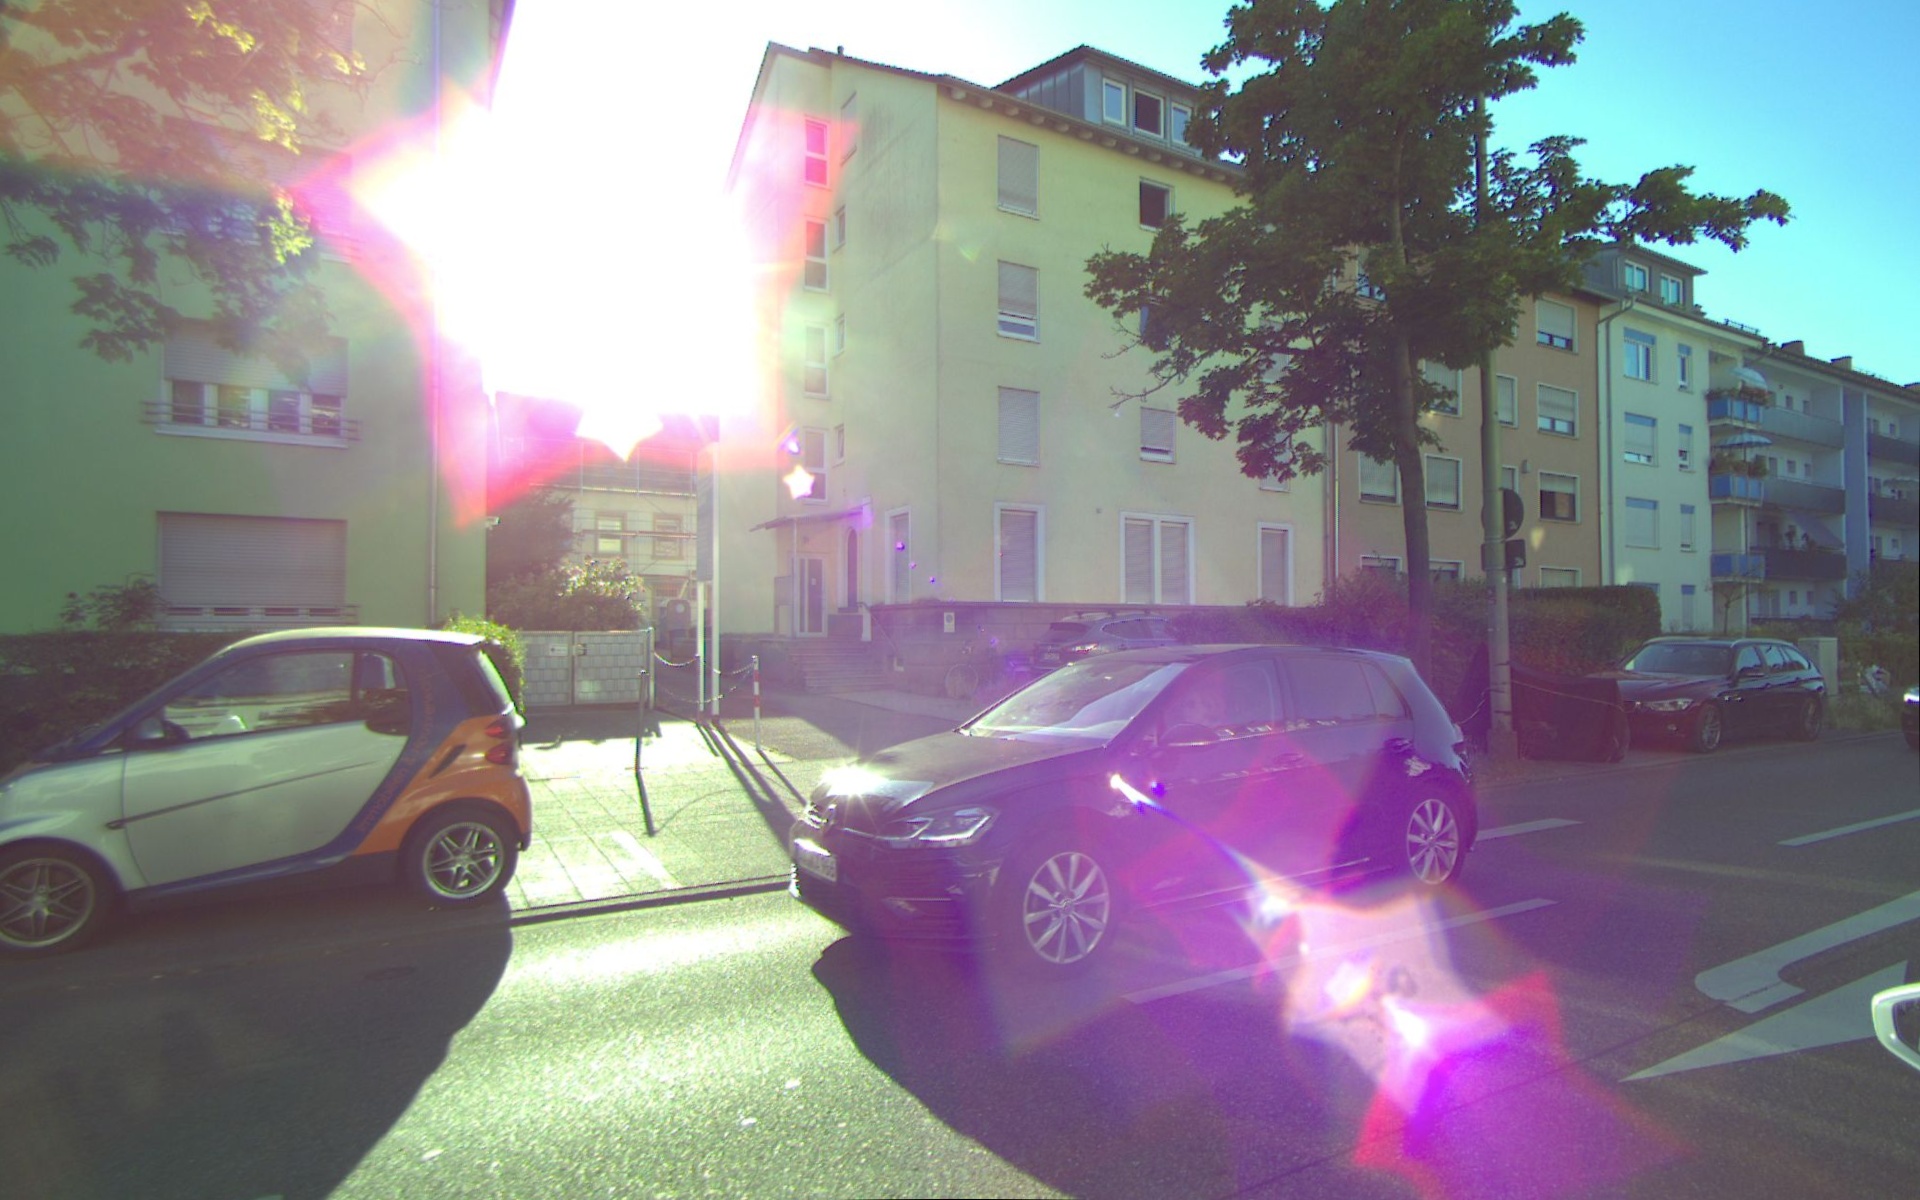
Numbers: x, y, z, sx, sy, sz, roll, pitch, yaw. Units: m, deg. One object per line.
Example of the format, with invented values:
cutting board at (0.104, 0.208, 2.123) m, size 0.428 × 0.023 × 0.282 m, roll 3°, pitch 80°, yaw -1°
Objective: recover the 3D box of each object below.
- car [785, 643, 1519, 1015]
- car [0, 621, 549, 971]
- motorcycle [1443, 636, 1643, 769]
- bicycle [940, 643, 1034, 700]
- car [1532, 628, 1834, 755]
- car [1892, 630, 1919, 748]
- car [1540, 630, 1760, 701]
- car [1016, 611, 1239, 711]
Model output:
car at (1.185, 0.992, 5.716) m, size 3.981 × 1.422 × 1.692 m, roll 1°, pitch -4°, yaw -31°
car at (-3.974, 0.950, 5.842) m, size 2.824 × 1.638 × 1.494 m, roll 1°, pitch -2°, yaw -27°
motorcycle at (6.969, 1.172, 12.124) m, size 1.991 × 1.407 × 0.989 m, roll 1°, pitch -1°, yaw 29°
bicycle at (0.567, 1.453, 20.596) m, size 1.975 × 1.103 × 0.482 m, roll 1°, pitch -1°, yaw -30°
car at (10.157, 1.156, 14.032) m, size 4.535 × 1.524 × 1.770 m, roll 1°, pitch -2°, yaw -31°
car at (14.200, 1.125, 13.256) m, size 4.246 × 1.490 × 1.691 m, roll 1°, pitch -3°, yaw -32°
car at (16.508, 1.497, 24.242) m, size 1.893 × 1.432 × 3.969 m, roll 1°, pitch 0°, yaw -29°
car at (3.198, 1.114, 19.032) m, size 3.954 × 1.705 × 1.818 m, roll 2°, pitch -2°, yaw -31°
